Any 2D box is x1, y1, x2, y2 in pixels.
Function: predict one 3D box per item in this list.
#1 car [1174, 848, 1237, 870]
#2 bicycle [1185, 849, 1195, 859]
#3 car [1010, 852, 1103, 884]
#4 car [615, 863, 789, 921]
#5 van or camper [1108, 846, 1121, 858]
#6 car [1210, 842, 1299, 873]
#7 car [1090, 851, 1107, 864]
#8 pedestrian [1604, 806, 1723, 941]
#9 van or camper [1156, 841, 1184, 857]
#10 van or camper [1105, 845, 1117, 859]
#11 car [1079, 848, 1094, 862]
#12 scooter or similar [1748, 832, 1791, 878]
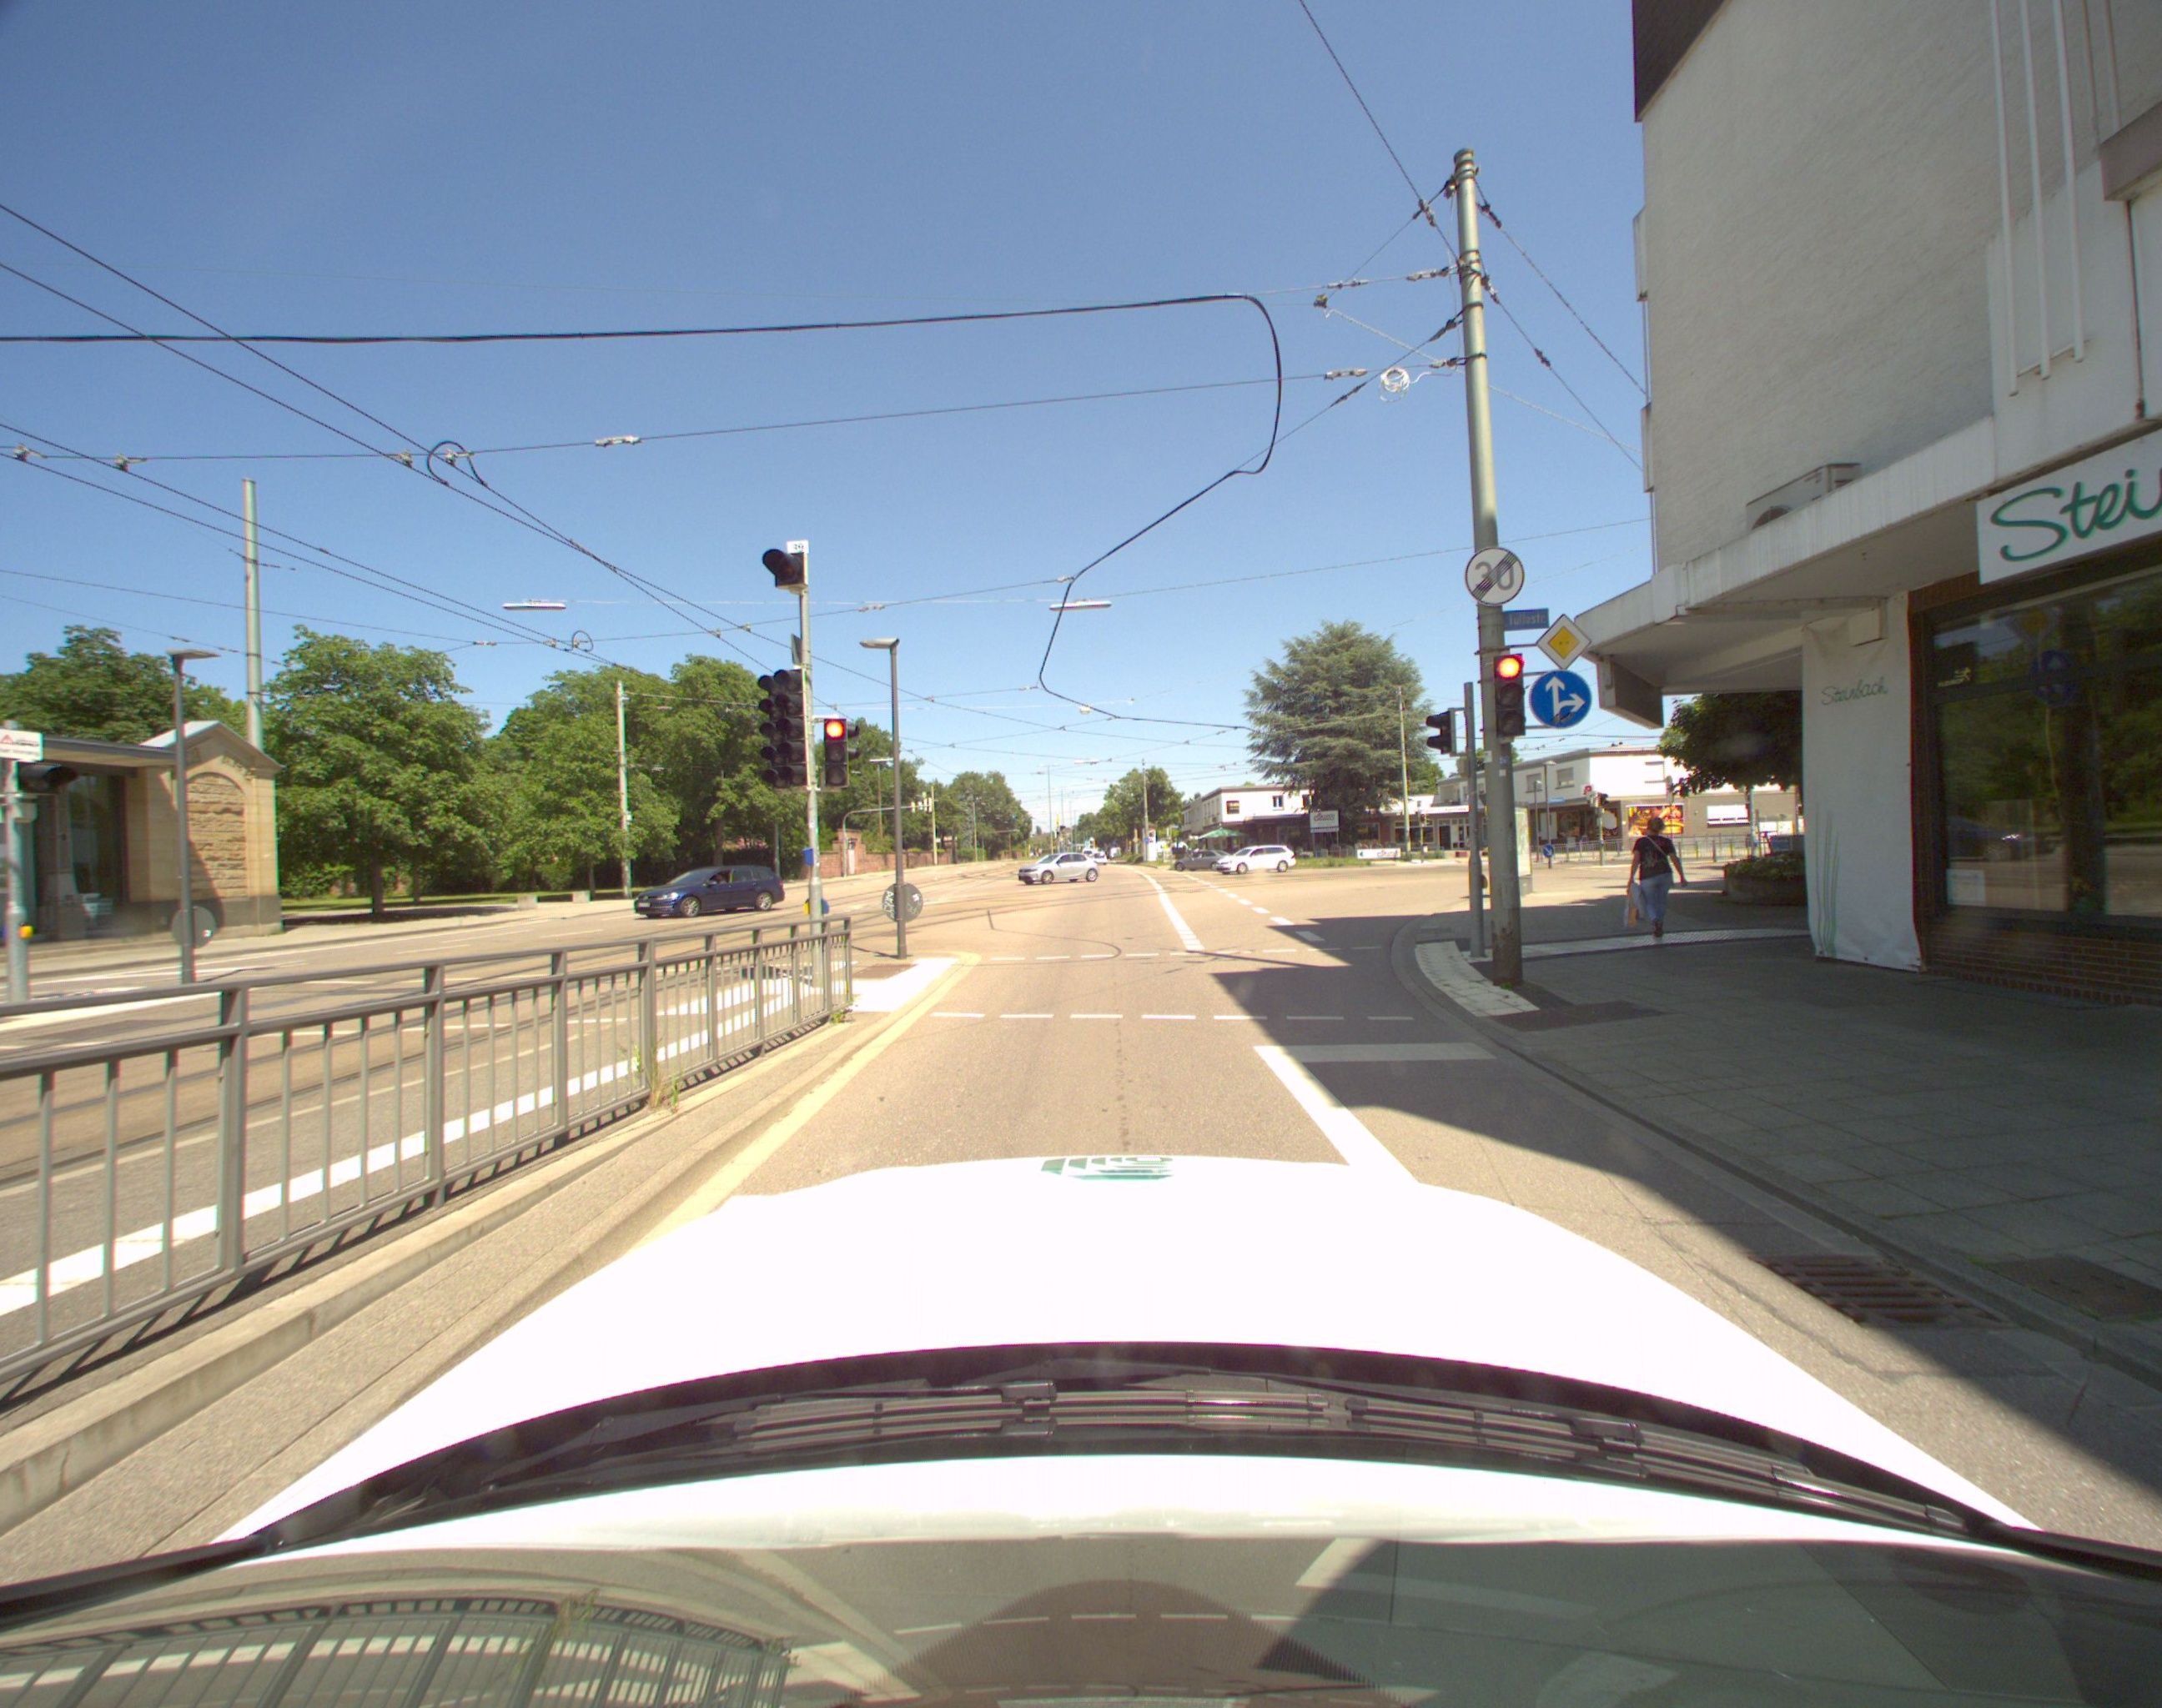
[{"bbox_3d":[8.361,0.325,54.813,3.792,1.351,1.653,-2,0,36],"label":"car"},{"bbox_3d":[11.312,0.019,84.430,1.028,1.014,2.643,-2,0,8],"label":"bicycle"},{"bbox_3d":[-1.149,0.644,38.685,4.069,1.362,1.804,-2,0,-35],"label":"car"},{"bbox_3d":[-11.275,1.081,24.578,1.839,1.442,4.505,-2,0,28],"label":"car"},{"bbox_3d":[5.372,-0.317,130.488,1.915,1.772,4.001,-2,0,2],"label":"van or camper"},{"bbox_3d":[9.430,0.162,44.240,4.502,1.489,1.810,-2,0,-22],"label":"car"},{"bbox_3d":[1.982,0.369,91.650,1.666,1.435,3.472,-2,0,-2],"label":"car"},{"bbox_3d":[7.453,0.240,10.468,0.822,1.583,0.828,-6,-1,7],"label":"pedestrian"},{"bbox_3d":[15.641,-0.891,143.280,4.742,2.671,2.135,-2,0,-1],"label":"van or camper"},{"bbox_3d":[5.598,-0.402,152.968,1.988,2.464,3.998,-2,0,-2],"label":"van or camper"},{"bbox_3d":[0.791,0.108,114.528,1.988,1.860,3.998,-2,0,-1],"label":"car"},{"bbox_3d":[18.651,0.023,22.066,1.258,1.212,0.391,-2,0,-26],"label":"scooter or similar"}]
